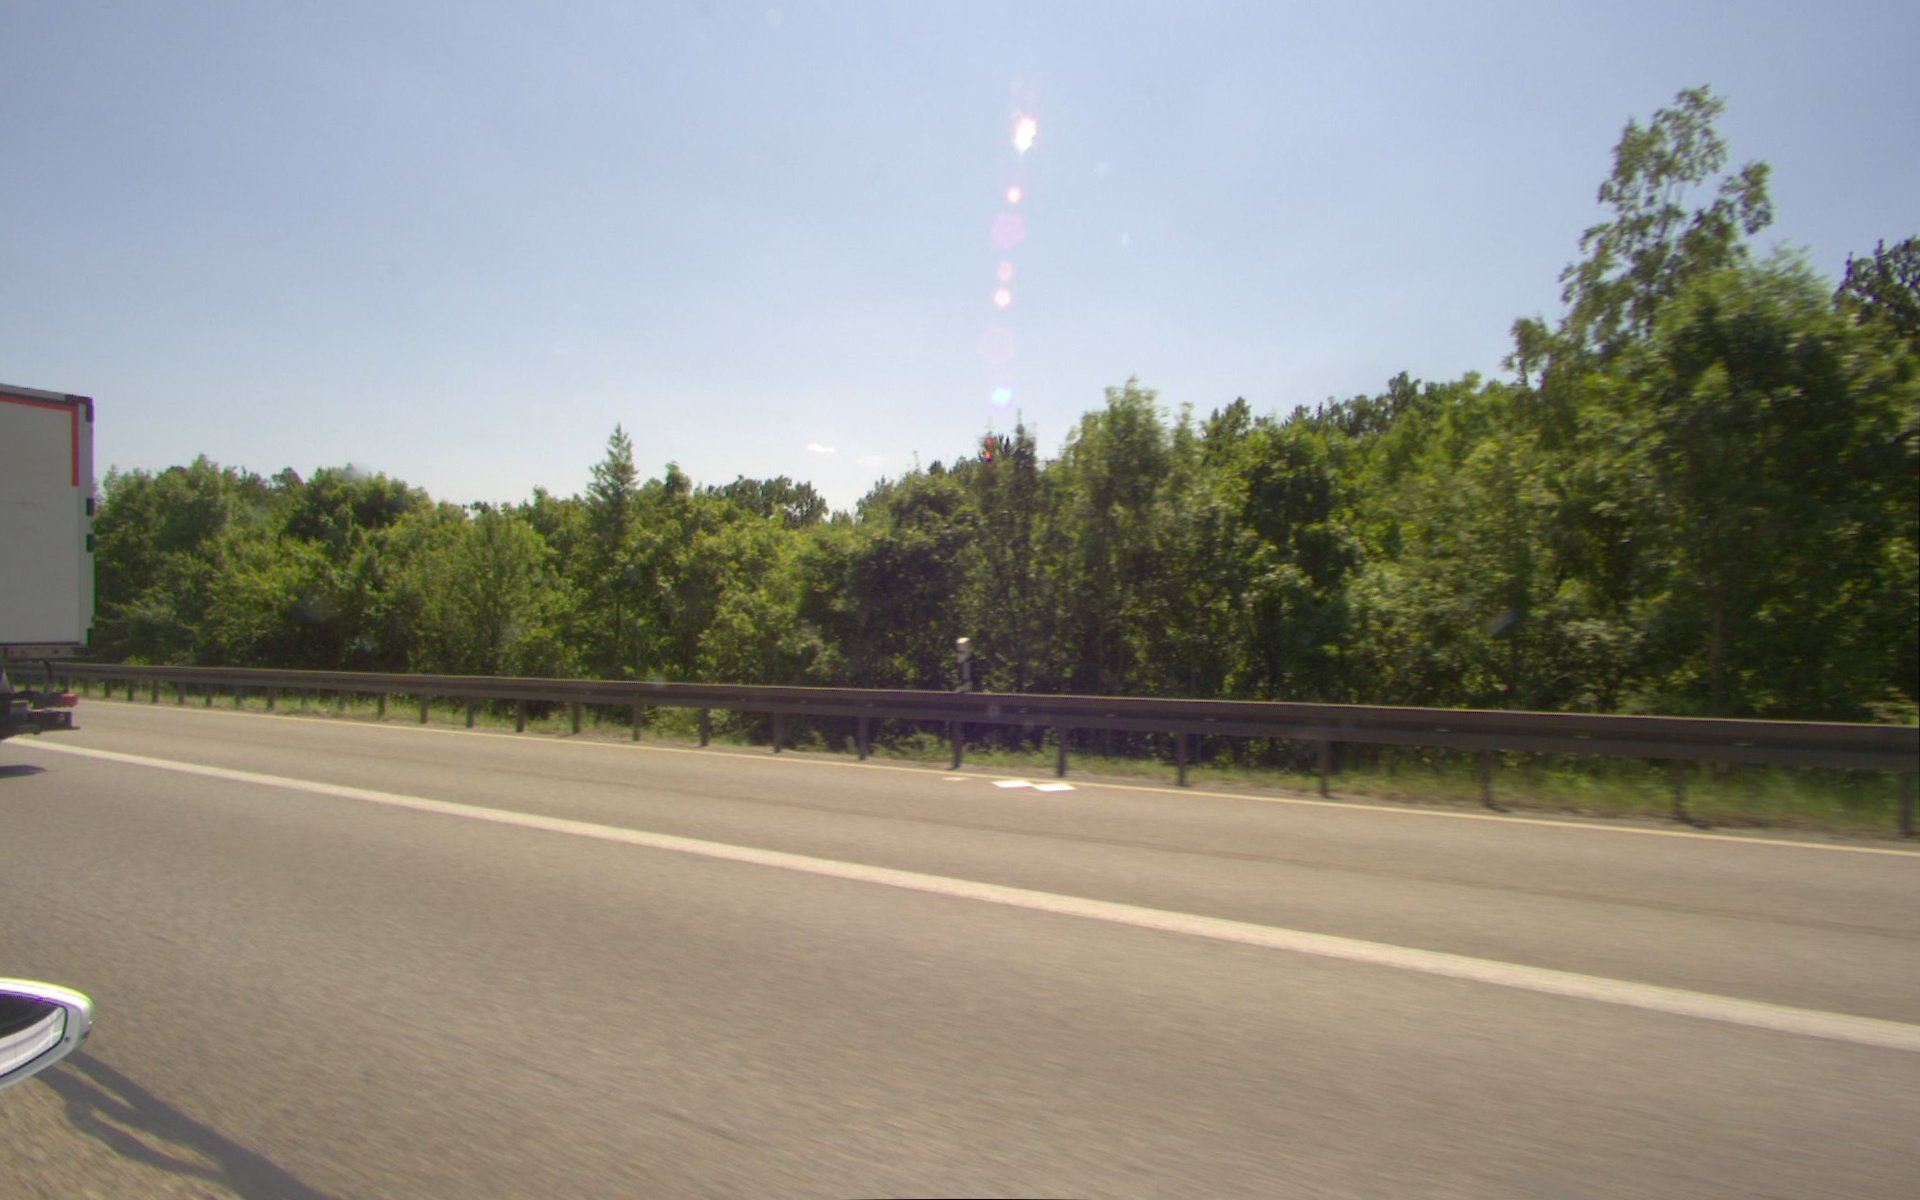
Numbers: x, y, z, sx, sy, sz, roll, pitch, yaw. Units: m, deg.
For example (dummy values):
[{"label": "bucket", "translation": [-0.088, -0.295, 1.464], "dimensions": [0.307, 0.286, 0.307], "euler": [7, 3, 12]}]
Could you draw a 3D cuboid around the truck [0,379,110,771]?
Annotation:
[{"label": "truck", "translation": [-13.952, -0.181, 12.218], "dimensions": [9.641, 3.928, 2.682], "euler": [-1, 1, 33]}]
